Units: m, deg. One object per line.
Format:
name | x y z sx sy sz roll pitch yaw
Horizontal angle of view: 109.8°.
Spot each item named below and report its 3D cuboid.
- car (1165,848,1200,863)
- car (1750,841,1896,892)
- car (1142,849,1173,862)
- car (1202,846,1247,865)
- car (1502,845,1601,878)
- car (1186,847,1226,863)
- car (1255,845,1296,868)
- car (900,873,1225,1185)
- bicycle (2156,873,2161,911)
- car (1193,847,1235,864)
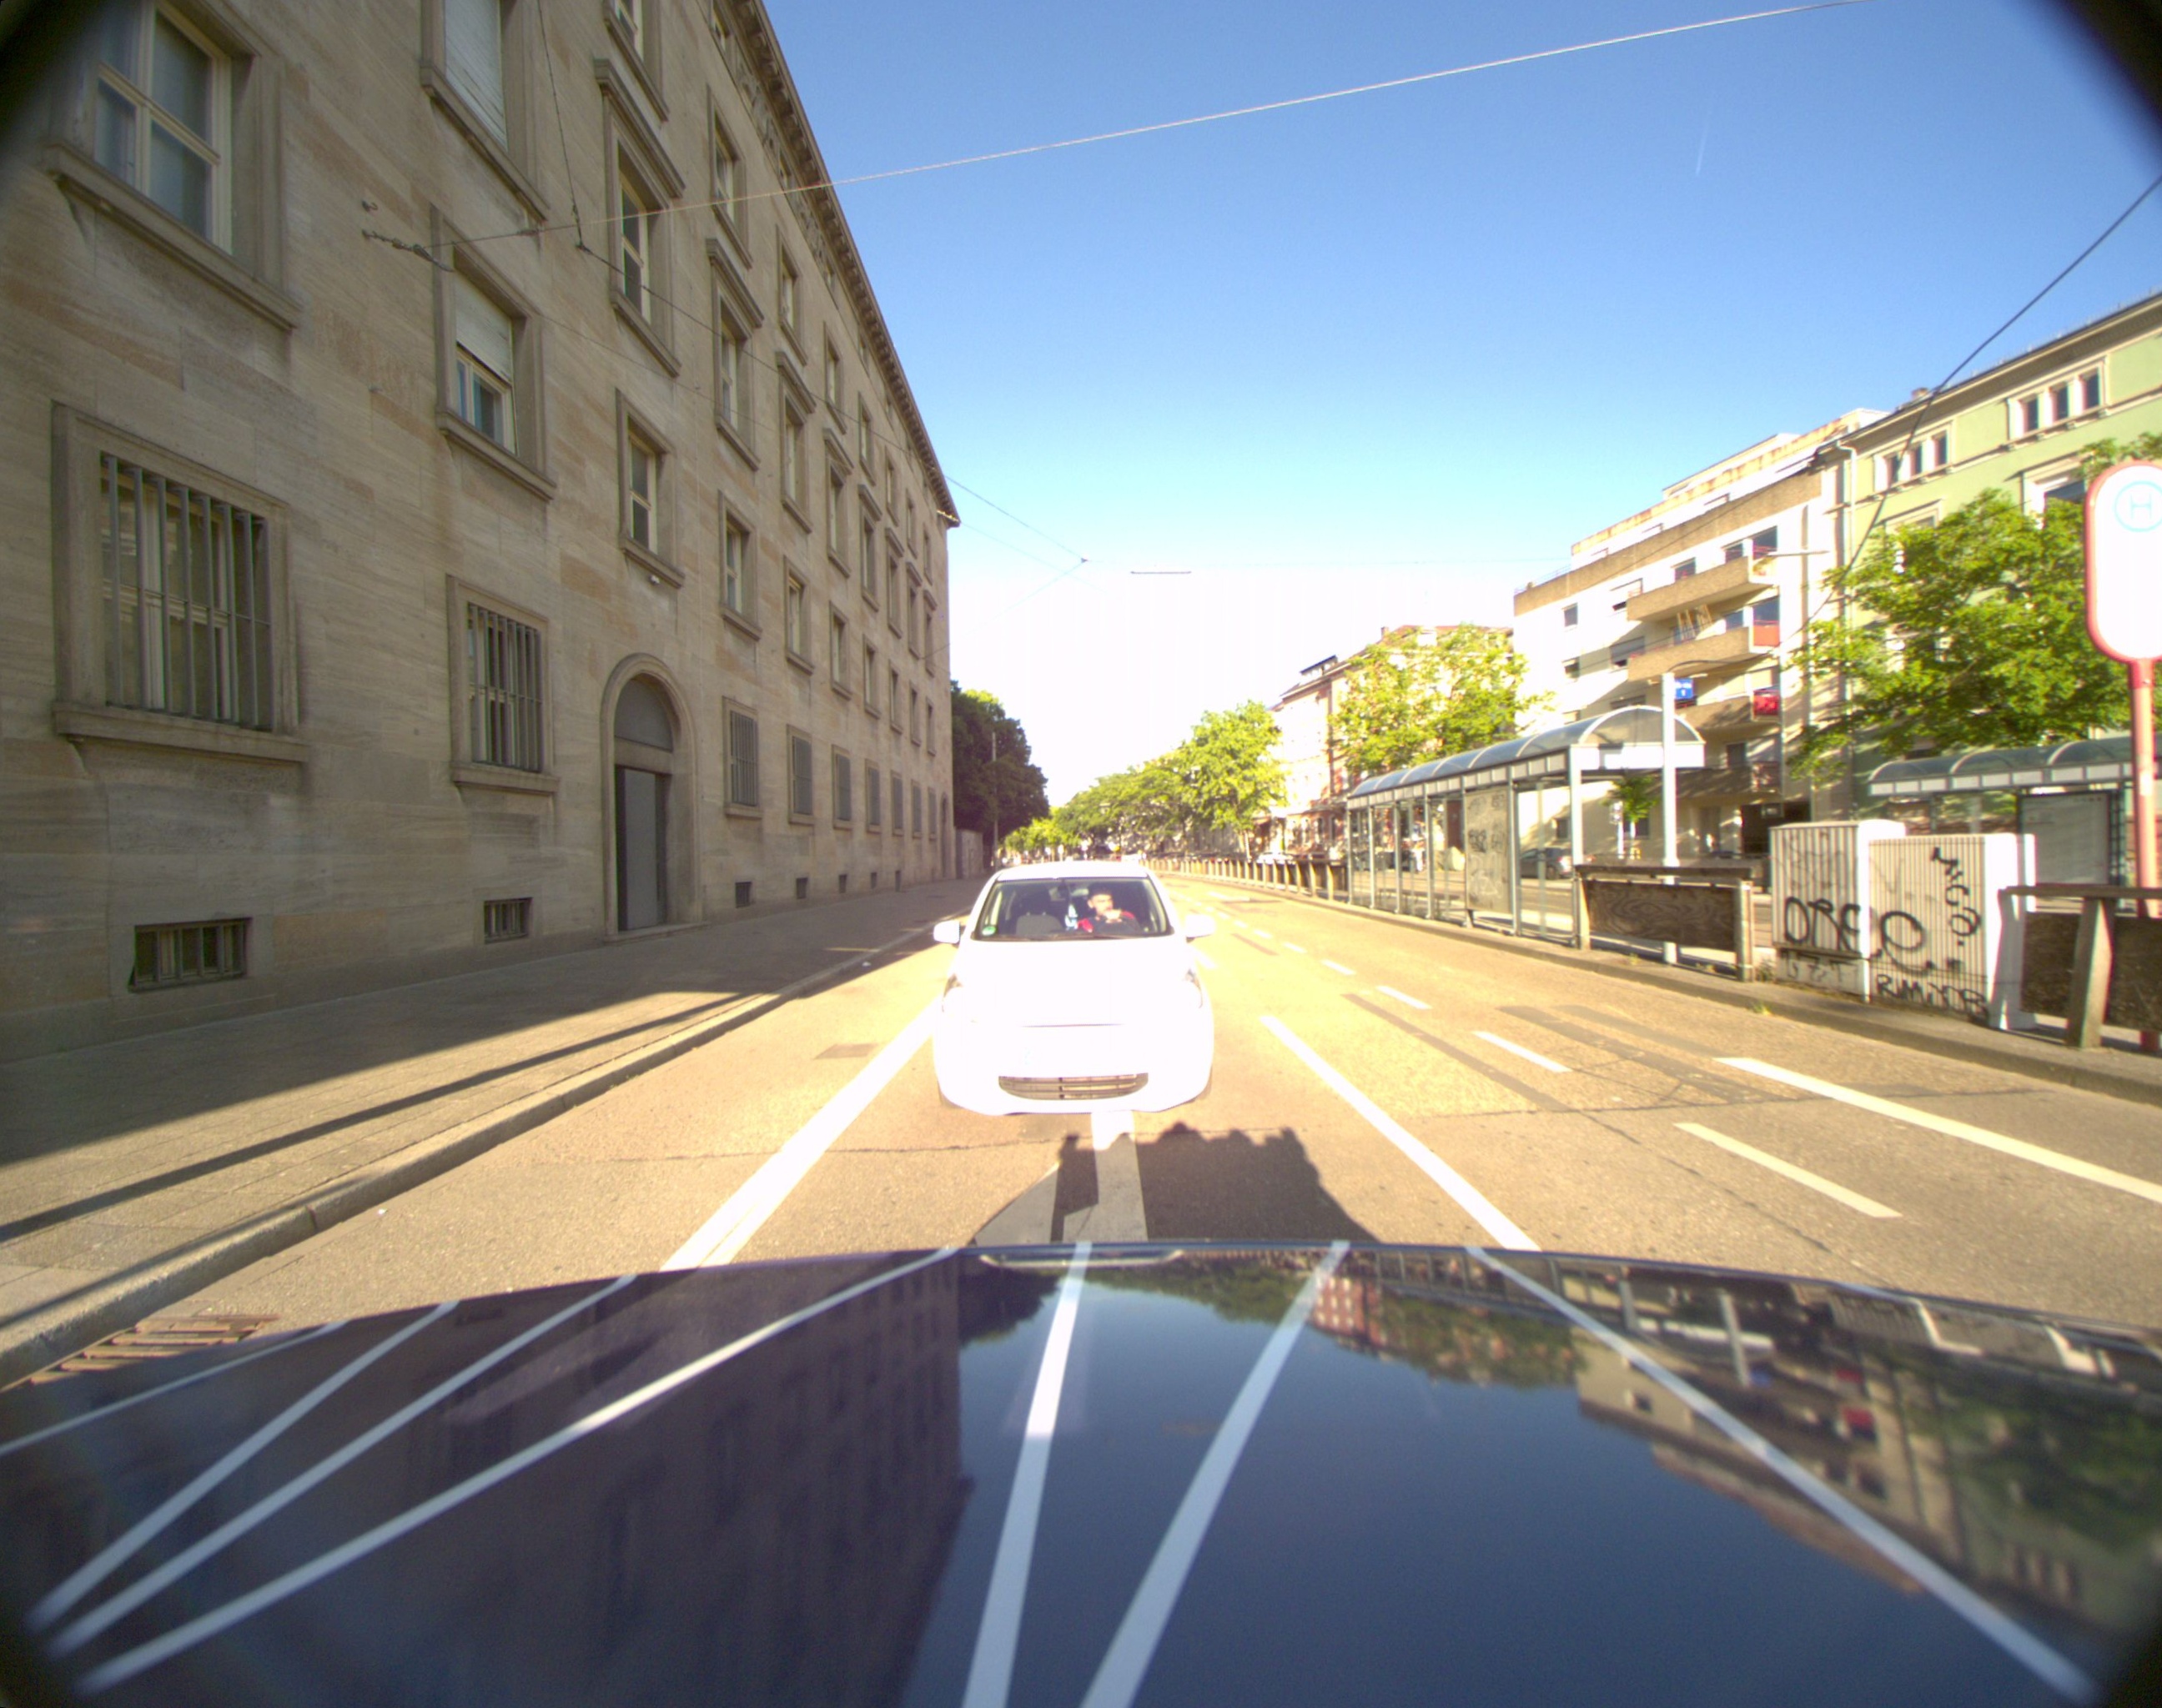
car | 11.460 0.155 86.090 3.864 1.583 2.001 -1 0 5
car | 23.949 0.375 24.549 3.796 1.526 1.772 -1 0 -17
car | 9.590 0.142 95.716 3.864 1.583 2.001 -1 0 4
car | 13.659 0.138 72.592 3.996 1.674 2.000 -1 0 4
car | 20.862 0.323 33.833 1.615 1.387 3.516 -1 0 -19
car | 13.181 0.095 80.530 3.996 1.674 2.000 -1 0 4
car | 16.325 0.172 63.677 1.994 1.713 4.007 0 2 34
car | -0.067 0.928 5.657 1.612 1.450 3.667 -1 0 1
bicycle | 22.799 0.794 15.010 0.536 0.783 1.853 -1 0 1
car | 13.373 0.123 76.726 3.996 1.674 2.000 -1 0 4
